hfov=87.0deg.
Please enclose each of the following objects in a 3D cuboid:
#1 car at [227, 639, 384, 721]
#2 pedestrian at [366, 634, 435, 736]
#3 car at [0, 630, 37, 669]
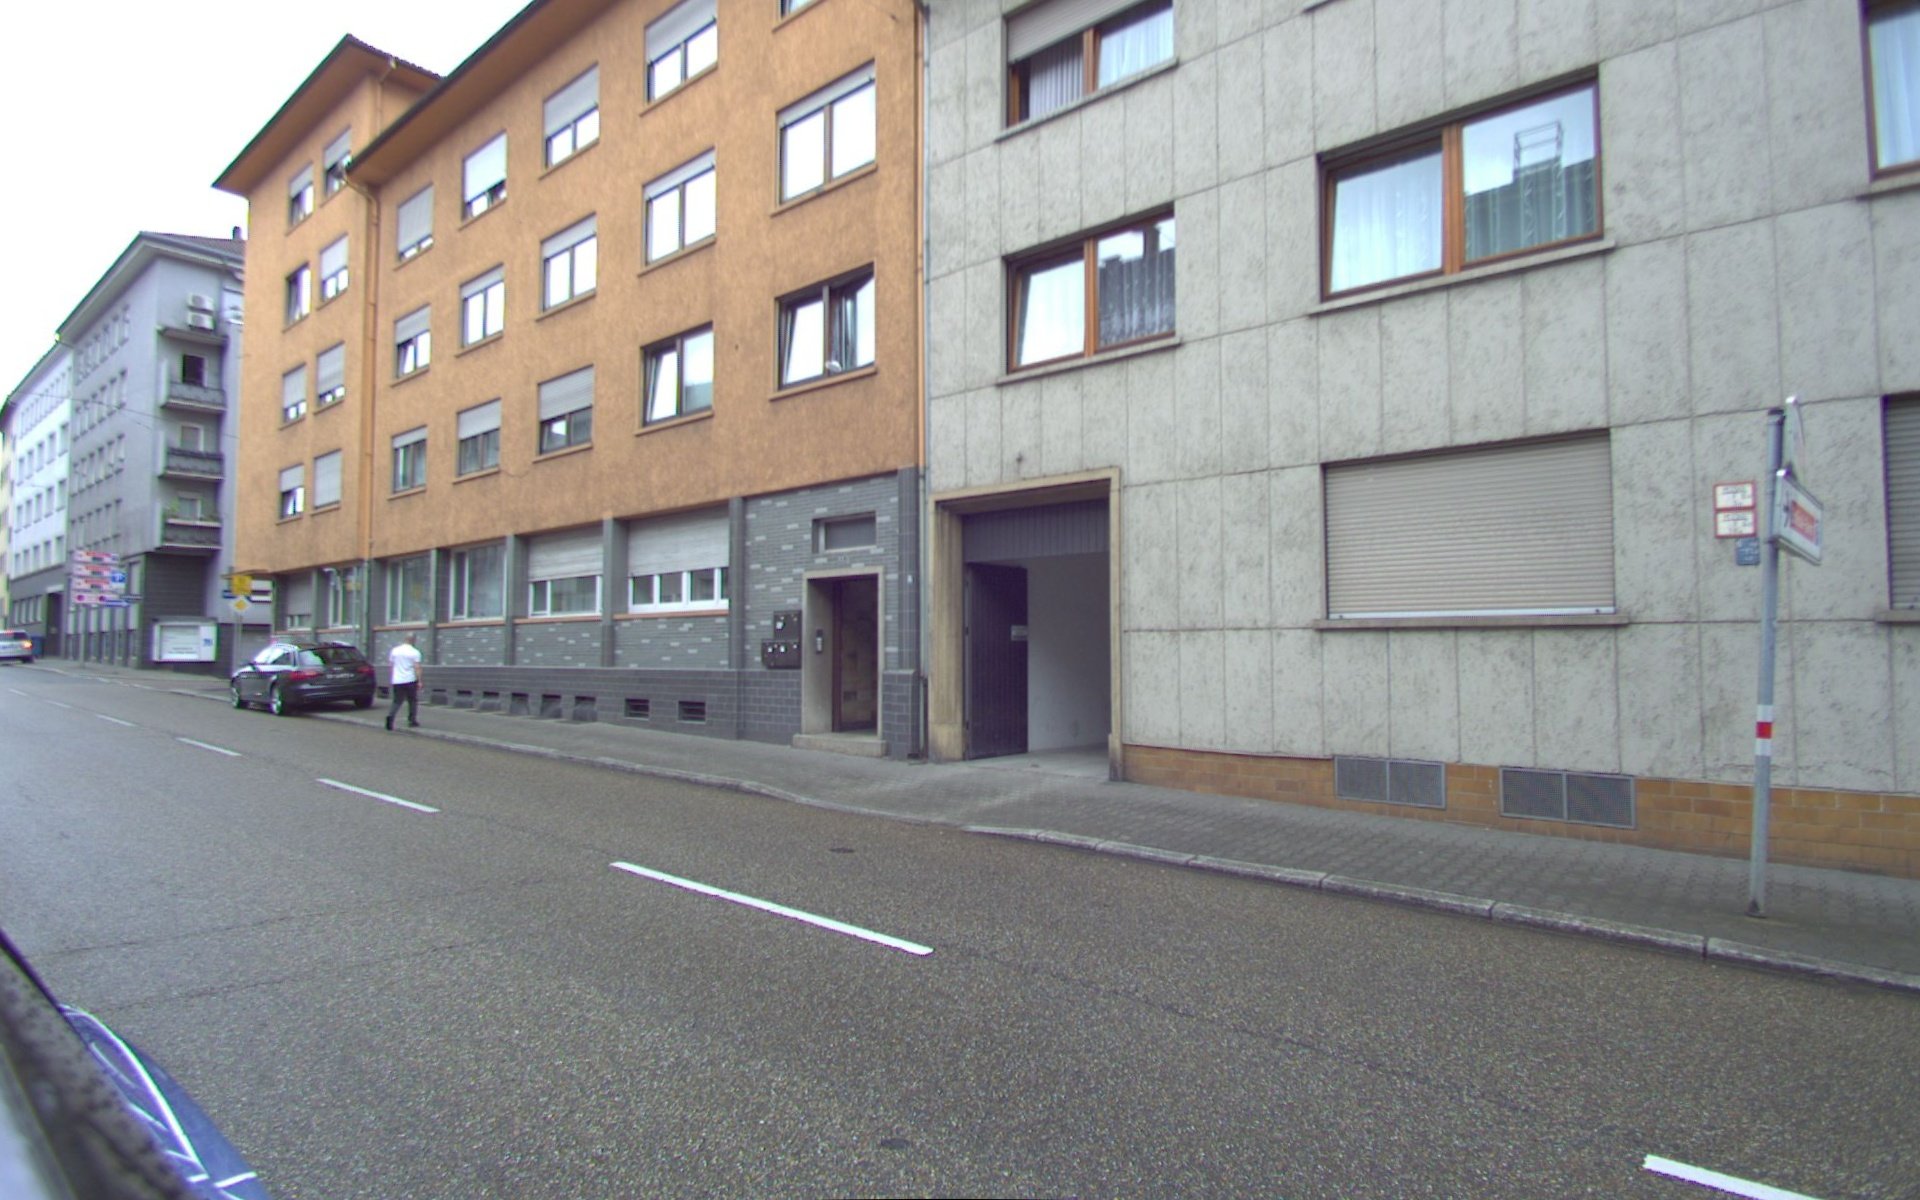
[{"bbox_3d":[-14.238,1.644,21.928,4.216,1.485,1.776,-1,0,41],"label":"car"},{"bbox_3d":[-9.639,1.444,17.467,0.756,1.652,1.026,-1,0,-12],"label":"pedestrian"},{"bbox_3d":[-46.464,2.382,49.265,4.216,1.735,1.832,-1,0,41],"label":"car"}]
